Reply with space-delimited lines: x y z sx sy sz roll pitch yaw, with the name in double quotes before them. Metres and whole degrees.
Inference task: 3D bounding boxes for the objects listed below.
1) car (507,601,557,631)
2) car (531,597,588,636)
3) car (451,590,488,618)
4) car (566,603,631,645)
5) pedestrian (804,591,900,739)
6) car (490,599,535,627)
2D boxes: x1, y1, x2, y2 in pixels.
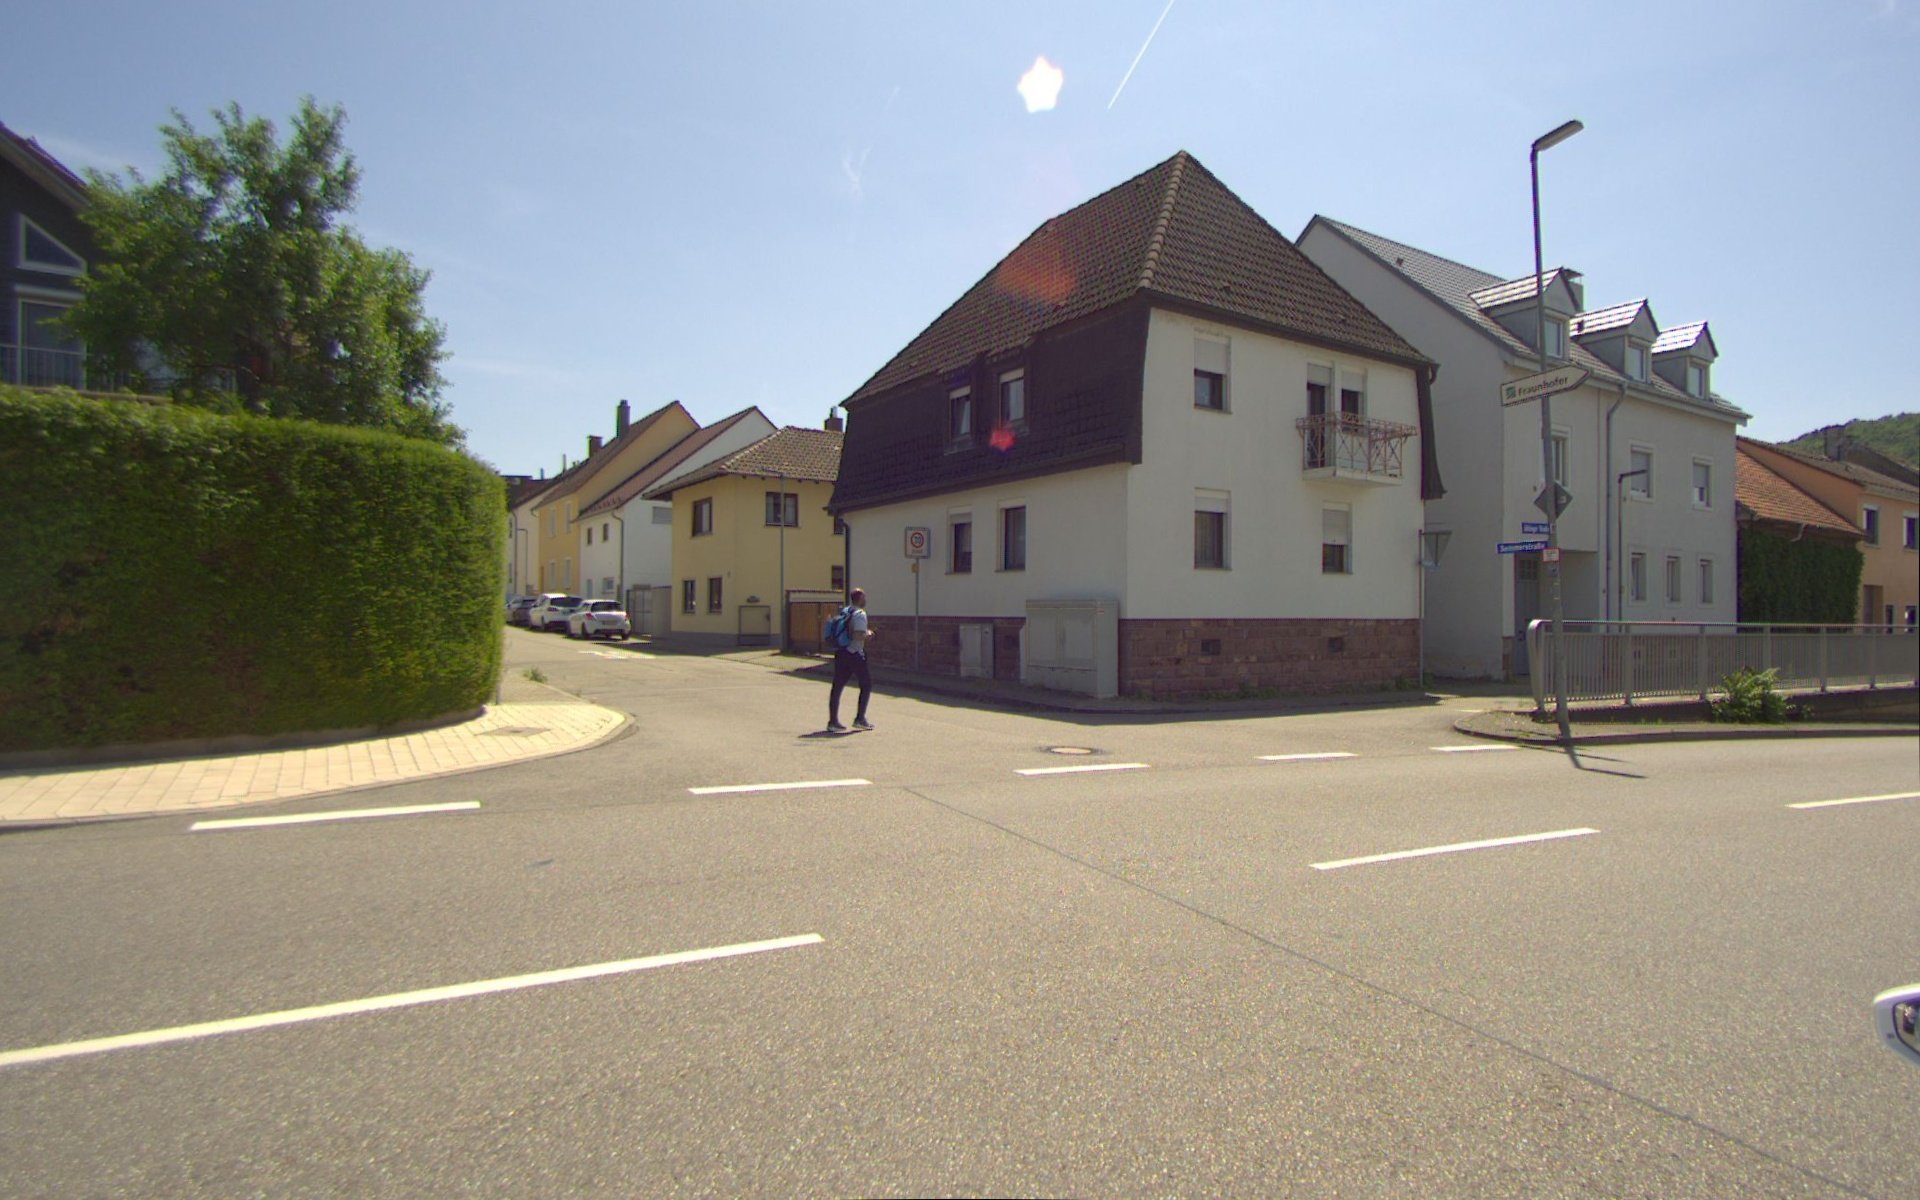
"car" -21.234 0.776 49.733 1.640 1.385 3.639 2 -1 -33
"car" -17.808 0.712 44.540 1.640 1.596 3.639 2 -1 -33
"car" -31.783 0.264 65.007 1.688 1.743 3.639 2 -1 -33
"car" -14.038 0.919 38.910 1.640 1.507 3.151 2 -1 -33
"pedestrian" -1.343 0.792 12.446 0.847 1.752 0.722 4 -1 -34
"car" -24.215 0.690 54.317 1.640 1.385 3.639 2 -1 -33
